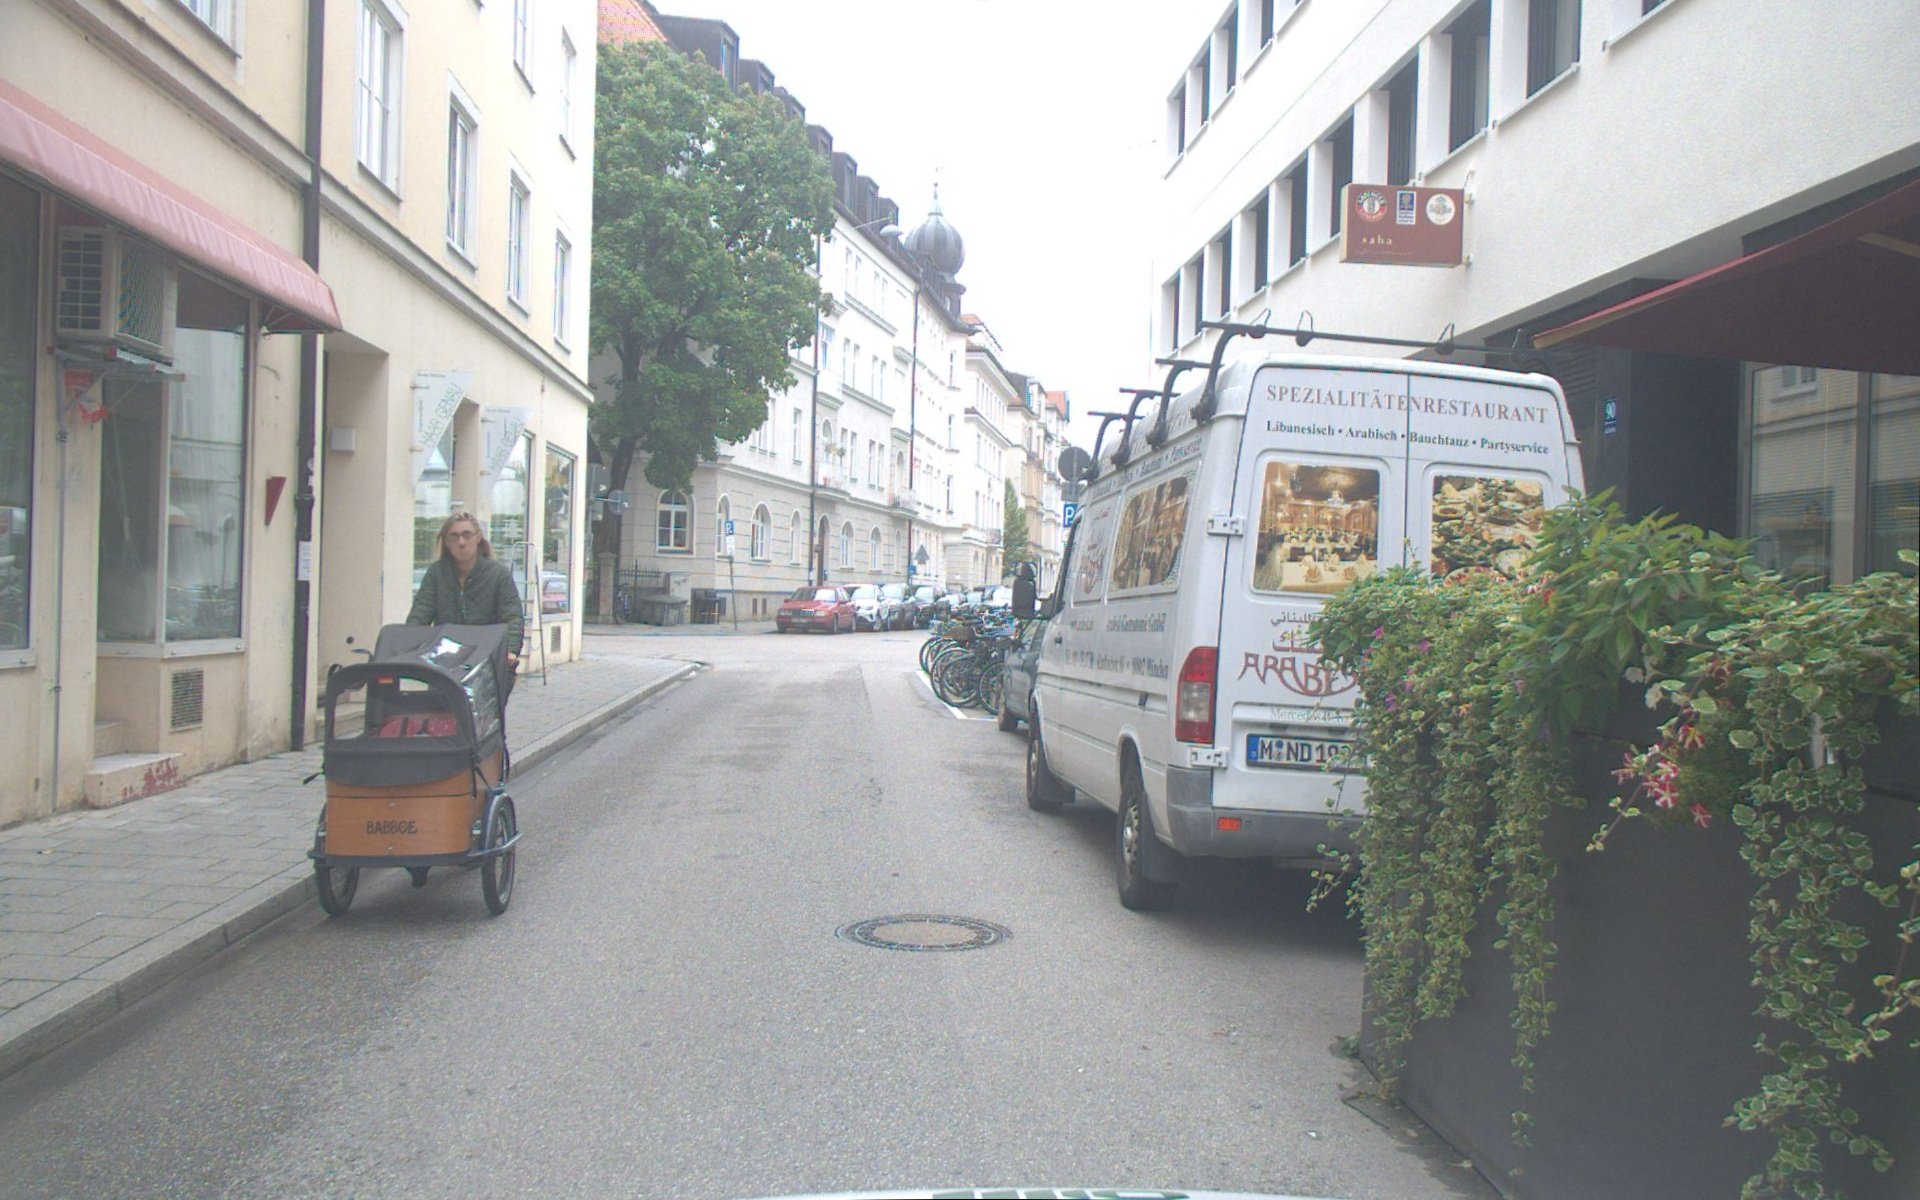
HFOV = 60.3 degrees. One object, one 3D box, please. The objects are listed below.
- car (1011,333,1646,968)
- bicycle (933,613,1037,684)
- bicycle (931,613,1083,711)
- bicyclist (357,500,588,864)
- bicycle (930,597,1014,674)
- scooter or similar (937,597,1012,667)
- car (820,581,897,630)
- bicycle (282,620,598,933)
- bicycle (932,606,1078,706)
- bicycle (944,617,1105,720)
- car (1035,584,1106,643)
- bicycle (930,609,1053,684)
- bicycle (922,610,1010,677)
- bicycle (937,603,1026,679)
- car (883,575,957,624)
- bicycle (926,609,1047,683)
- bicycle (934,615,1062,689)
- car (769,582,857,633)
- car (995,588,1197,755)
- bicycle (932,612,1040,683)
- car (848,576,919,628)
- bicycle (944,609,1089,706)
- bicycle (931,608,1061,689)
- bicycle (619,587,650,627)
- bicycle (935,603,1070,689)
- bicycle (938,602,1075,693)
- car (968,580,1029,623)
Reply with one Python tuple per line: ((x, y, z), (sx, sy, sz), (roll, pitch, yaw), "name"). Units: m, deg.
((1.635, 0.190, 9.832), (1.883, 2.549, 5.991), (3, 0, -5), "car")
((0.403, 0.779, 26.830), (1.642, 1.098, 0.335), (1, 1, -8), "bicycle")
((0.588, 0.784, 21.062), (1.838, 1.127, 0.488), (3, 1, -7), "bicycle")
((-2.473, 0.393, 8.532), (0.908, 1.751, 1.099), (0, 0, -4), "bicyclist")
((0.211, 0.630, 29.479), (1.428, 1.307, 0.445), (2, 0, -3), "bicycle")
((0.256, 0.578, 30.281), (1.325, 1.231, 0.417), (2, 0, -3), "scooter or similar")
((-3.268, 0.162, 54.058), (1.952, 1.499, 4.221), (2, 0, 4), "car")
((-2.444, 0.755, 8.150), (0.913, 1.279, 2.412), (0, 0, -3), "bicycle")
((0.579, 0.725, 21.582), (1.838, 1.225, 0.488), (2, 1, -7), "bicycle")
((0.779, 0.829, 20.091), (1.838, 1.098, 0.488), (4, 1, -7), "bicycle")
((3.571, 0.414, 52.797), (1.781, 1.664, 4.292), (4, 0, 9), "car")
((0.481, 0.716, 25.569), (1.838, 1.098, 0.402), (2, 1, -8), "bicycle")
((0.097, 0.749, 28.459), (1.425, 1.088, 0.462), (2, 0, -12), "bicycle")
((0.363, 0.693, 28.027), (1.425, 1.228, 0.394), (2, 0, -12), "bicycle")
((-1.525, -0.009, 64.407), (1.951, 1.768, 4.526), (2, 0, 10), "car")
((0.414, 0.722, 26.004), (1.838, 1.098, 0.408), (2, 1, -8), "bicycle")
((0.567, 0.779, 24.877), (1.838, 1.070, 0.563), (1, -1, -8), "bicycle")
((-4.320, 0.204, 49.198), (1.694, 1.402, 4.230), (2, 0, 8), "car")
((1.294, 0.646, 16.983), (1.549, 1.489, 3.549), (2, 0, -3), "car")
((0.429, 0.779, 27.247), (1.707, 1.098, 0.451), (1, 1, -8), "bicycle")
((-2.700, 0.061, 59.183), (1.902, 1.732, 4.003), (2, 0, 6), "car")
((0.749, 0.765, 22.279), (1.838, 1.177, 0.564), (3, 1, -7), "bicycle")
((0.523, 0.711, 24.169), (1.838, 1.114, 0.439), (2, 1, -8), "bicycle")
((-9.365, 0.184, 47.617), (0.483, 1.070, 1.827), (2, 2, 1), "bicycle")
((0.596, 0.655, 23.621), (1.857, 1.190, 0.565), (1, 0, -7), "bicycle")
((0.634, 0.655, 23.003), (1.838, 1.225, 0.579), (0, 0, -7), "bicycle")
((1.593, 0.061, 67.016), (1.915, 1.635, 4.312), (1, 0, 8), "car")
